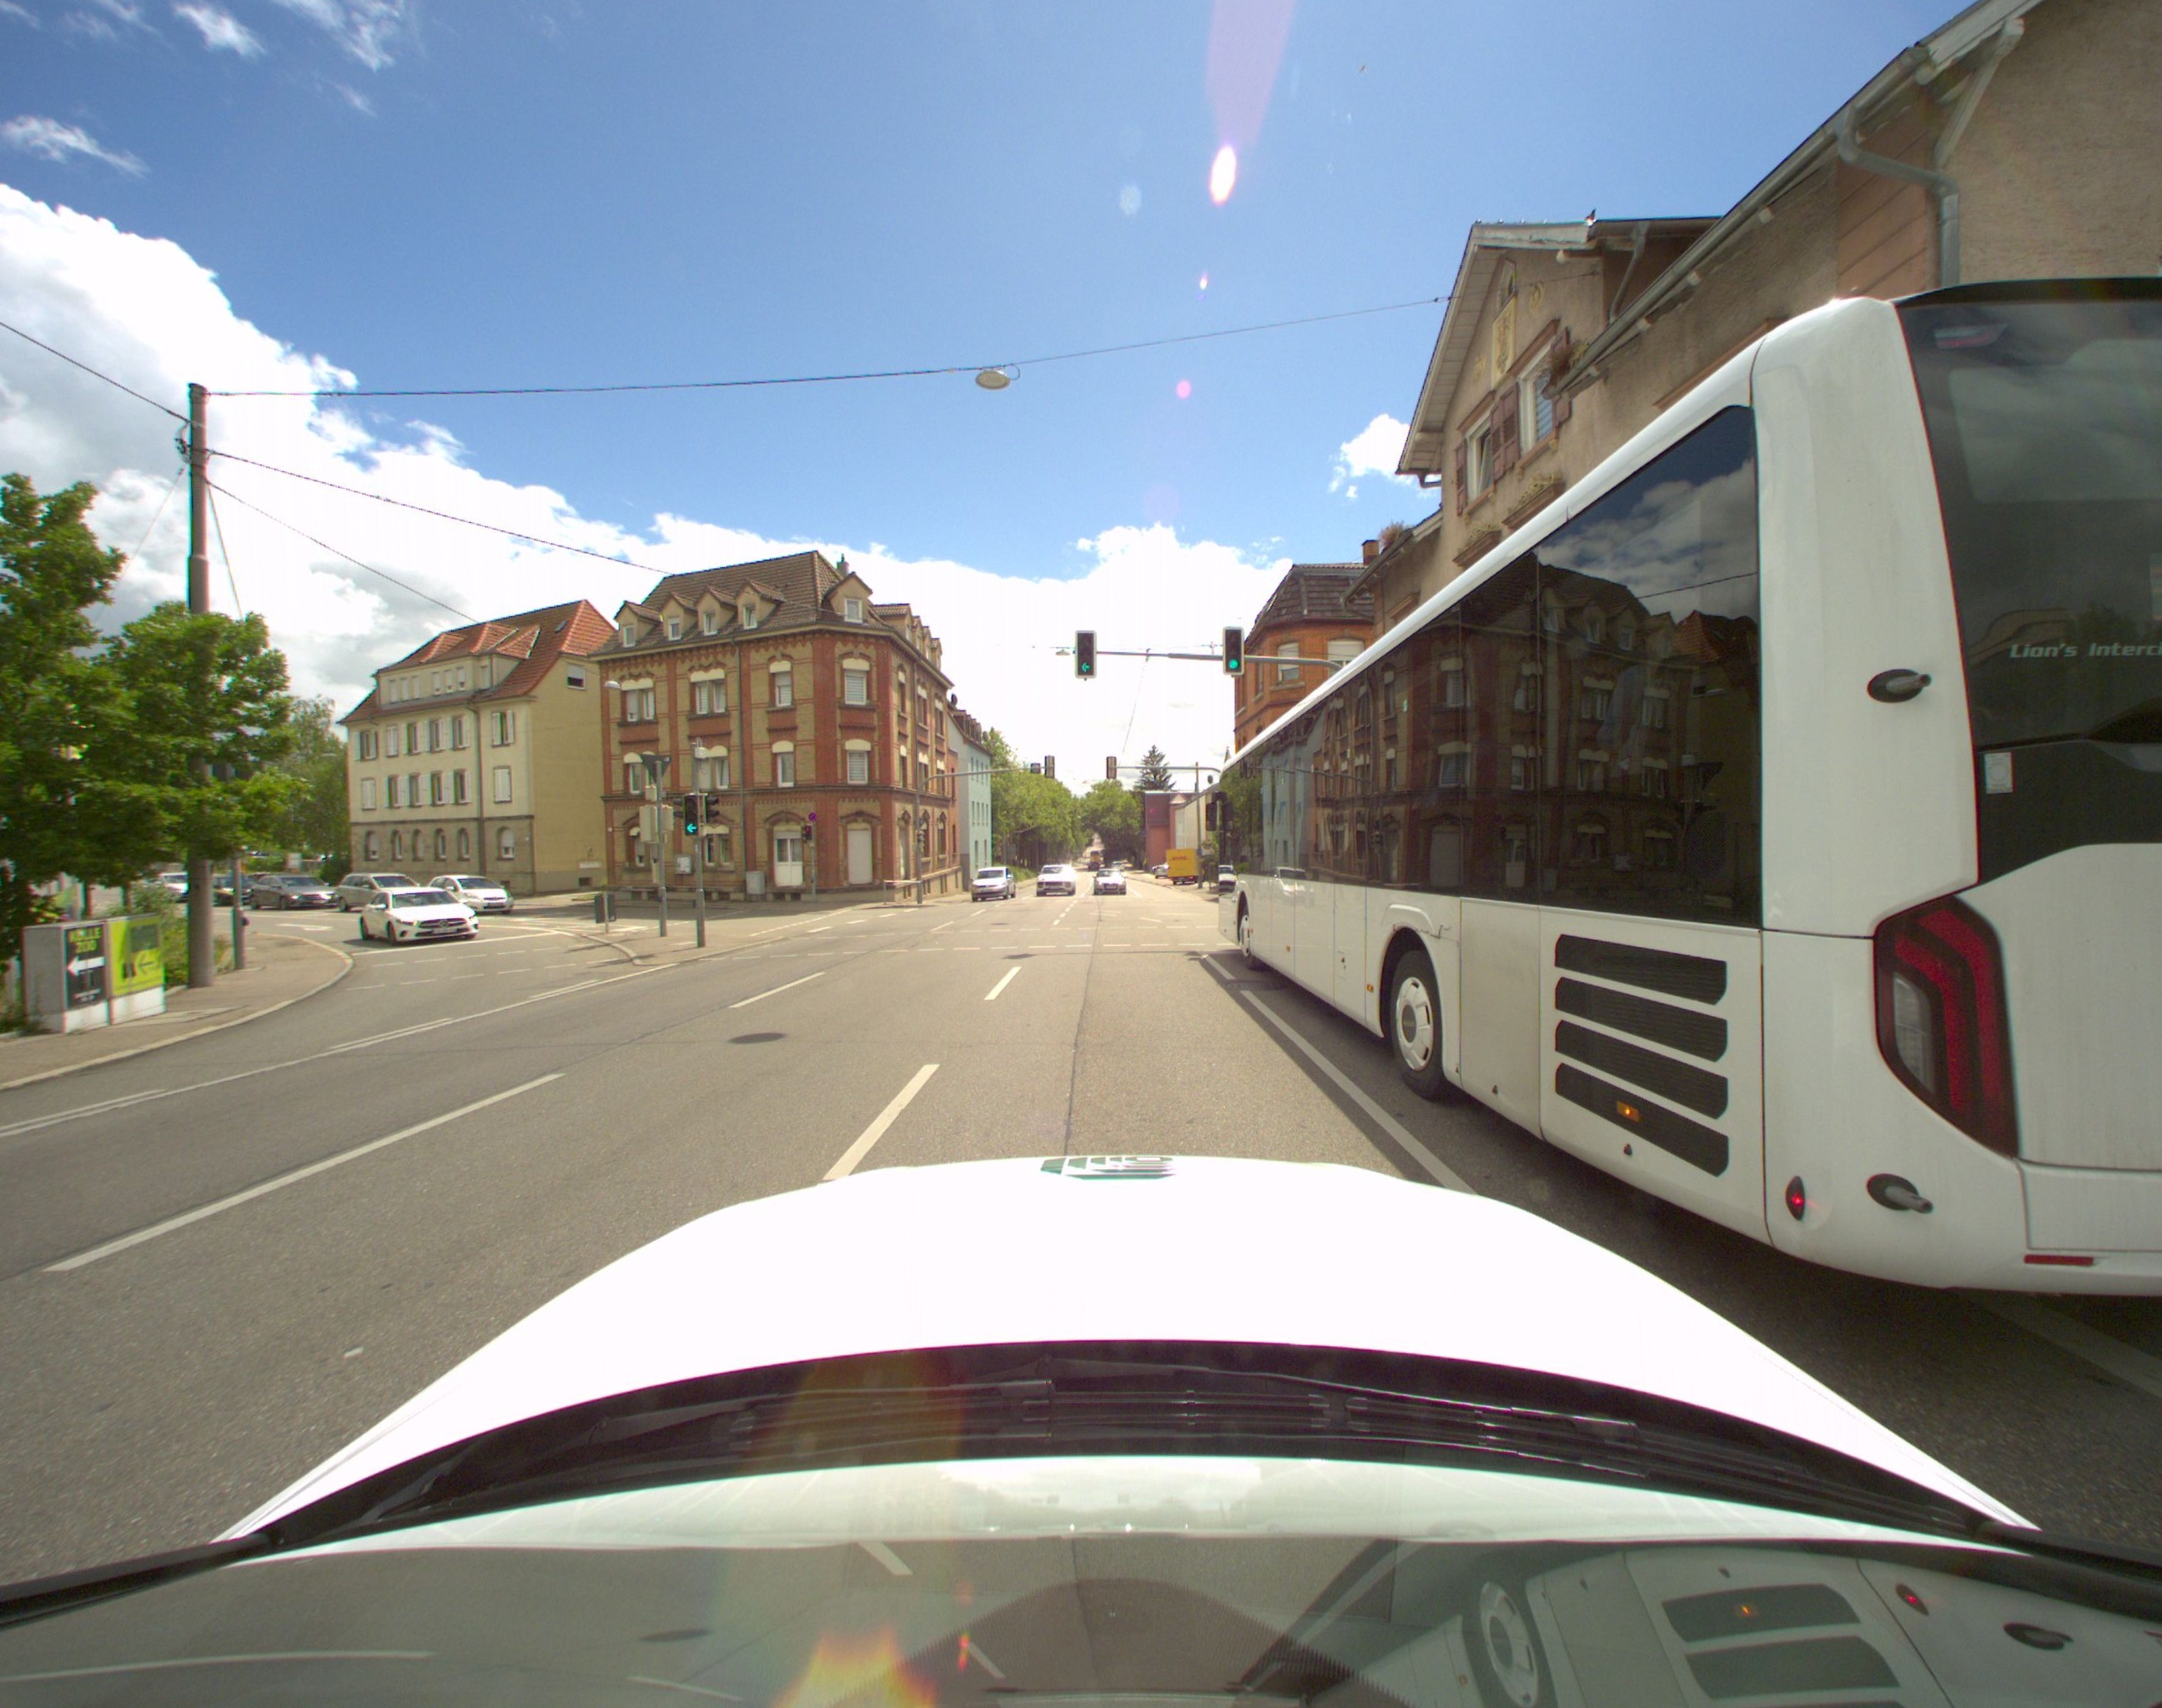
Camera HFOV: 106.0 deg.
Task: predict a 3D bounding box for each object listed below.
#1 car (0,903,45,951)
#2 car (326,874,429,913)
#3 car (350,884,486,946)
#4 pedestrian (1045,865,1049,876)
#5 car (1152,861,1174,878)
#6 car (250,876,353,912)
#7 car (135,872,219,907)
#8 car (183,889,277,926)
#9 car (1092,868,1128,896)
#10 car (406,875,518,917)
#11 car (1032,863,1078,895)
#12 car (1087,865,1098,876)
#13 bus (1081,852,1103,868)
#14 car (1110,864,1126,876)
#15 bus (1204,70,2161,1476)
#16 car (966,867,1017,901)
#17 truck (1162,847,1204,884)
[{"bbox_3d":[-29.310,1.927,20.359,1.795,1.187,4.025,-2,-1,31],"label":"car"},{"bbox_3d":[-29.699,1.648,34.362,3.951,1.519,1.757,-1,-1,24],"label":"car"},{"bbox_3d":[-18.282,1.626,22.397,4.334,1.447,1.875,-2,0,37],"label":"car"},{"bbox_3d":[-5.596,2.769,135.439,0.604,1.758,0.653,-2,-1,0],"label":"pedestrian"},{"bbox_3d":[9.162,1.770,91.226,1.905,1.817,3.998,-1,-1,-1],"label":"car"},{"bbox_3d":[-35.275,1.797,36.843,3.951,1.519,2.011,-1,-1,24],"label":"car"},{"bbox_3d":[-47.053,1.825,42.390,3.950,1.720,1.957,-1,-1,27],"label":"car"},{"bbox_3d":[-40.259,2.490,38.522,4.291,1.586,2.012,-1,0,29],"label":"car"},{"bbox_3d":[1.580,1.530,45.034,1.858,1.367,4.548,-2,-1,2],"label":"car"},{"bbox_3d":[-23.710,1.583,31.179,3.951,1.497,1.711,-1,-1,24],"label":"car"},{"bbox_3d":[-1.358,1.323,44.856,2.199,1.613,4.548,-2,-1,2],"label":"car"},{"bbox_3d":[2.000,2.768,138.197,1.813,1.785,4.001,-2,-1,2],"label":"car"},{"bbox_3d":[2.616,1.444,197.564,3.299,3.631,11.209,-2,-1,-9],"label":"bus"},{"bbox_3d":[5.780,2.445,127.891,2.086,1.830,4.140,-1,-1,-2],"label":"car"},{"bbox_3d":[3.465,-0.137,8.262,2.893,3.510,12.491,0,-1,2],"label":"bus"},{"bbox_3d":[-4.502,1.485,41.385,1.928,1.563,4.390,-2,-1,2],"label":"car"},{"bbox_3d":[8.530,0.938,67.502,2.522,2.913,6.598,-1,-1,15],"label":"truck"}]
